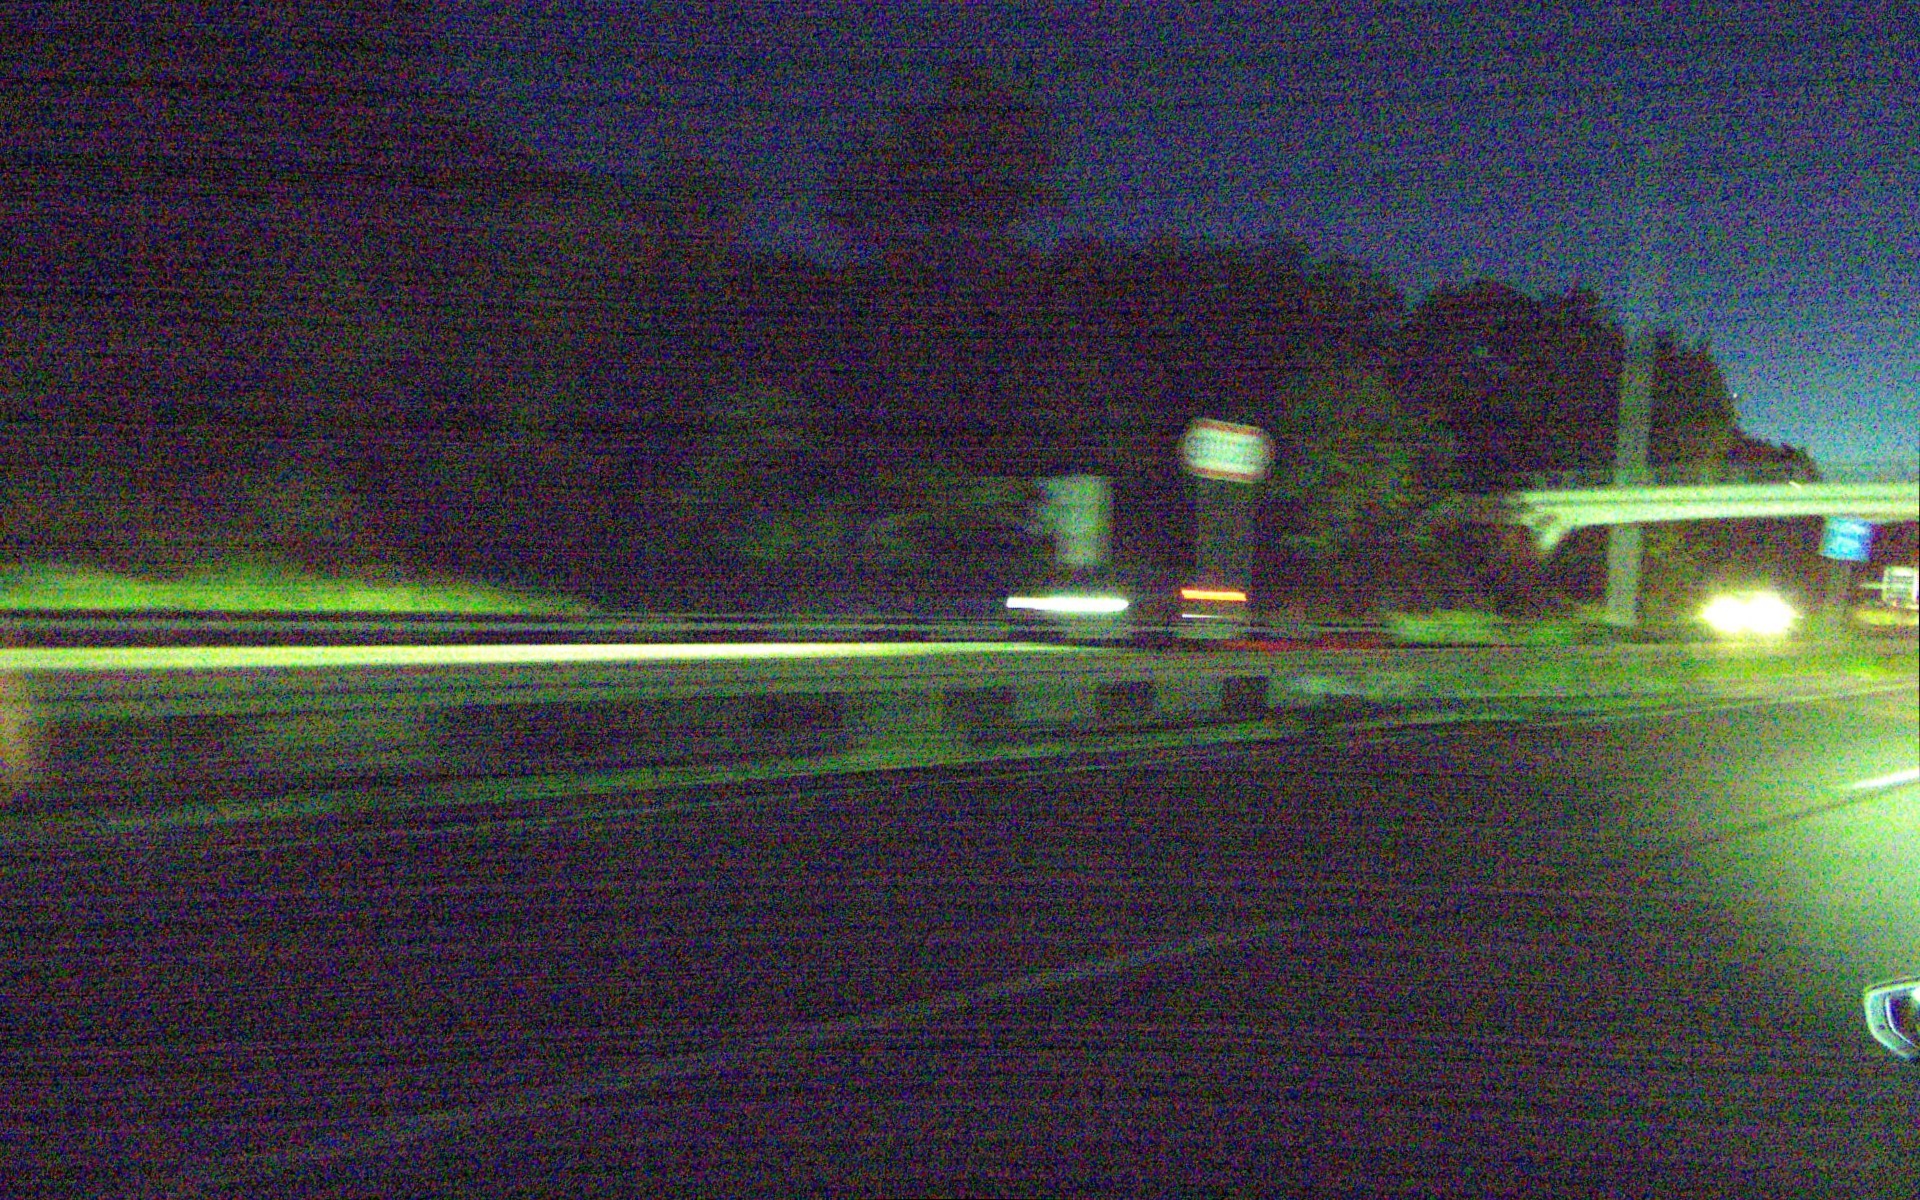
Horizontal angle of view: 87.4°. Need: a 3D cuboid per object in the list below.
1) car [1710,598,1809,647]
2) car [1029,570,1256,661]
[{"bbox_3d":[36.665,1.028,46.009,4.986,2.041,2.344,1,2,-37],"label":"car"},{"bbox_3d":[4.109,0.336,22.279,4.980,1.787,1.955,2,2,-34],"label":"car"}]
